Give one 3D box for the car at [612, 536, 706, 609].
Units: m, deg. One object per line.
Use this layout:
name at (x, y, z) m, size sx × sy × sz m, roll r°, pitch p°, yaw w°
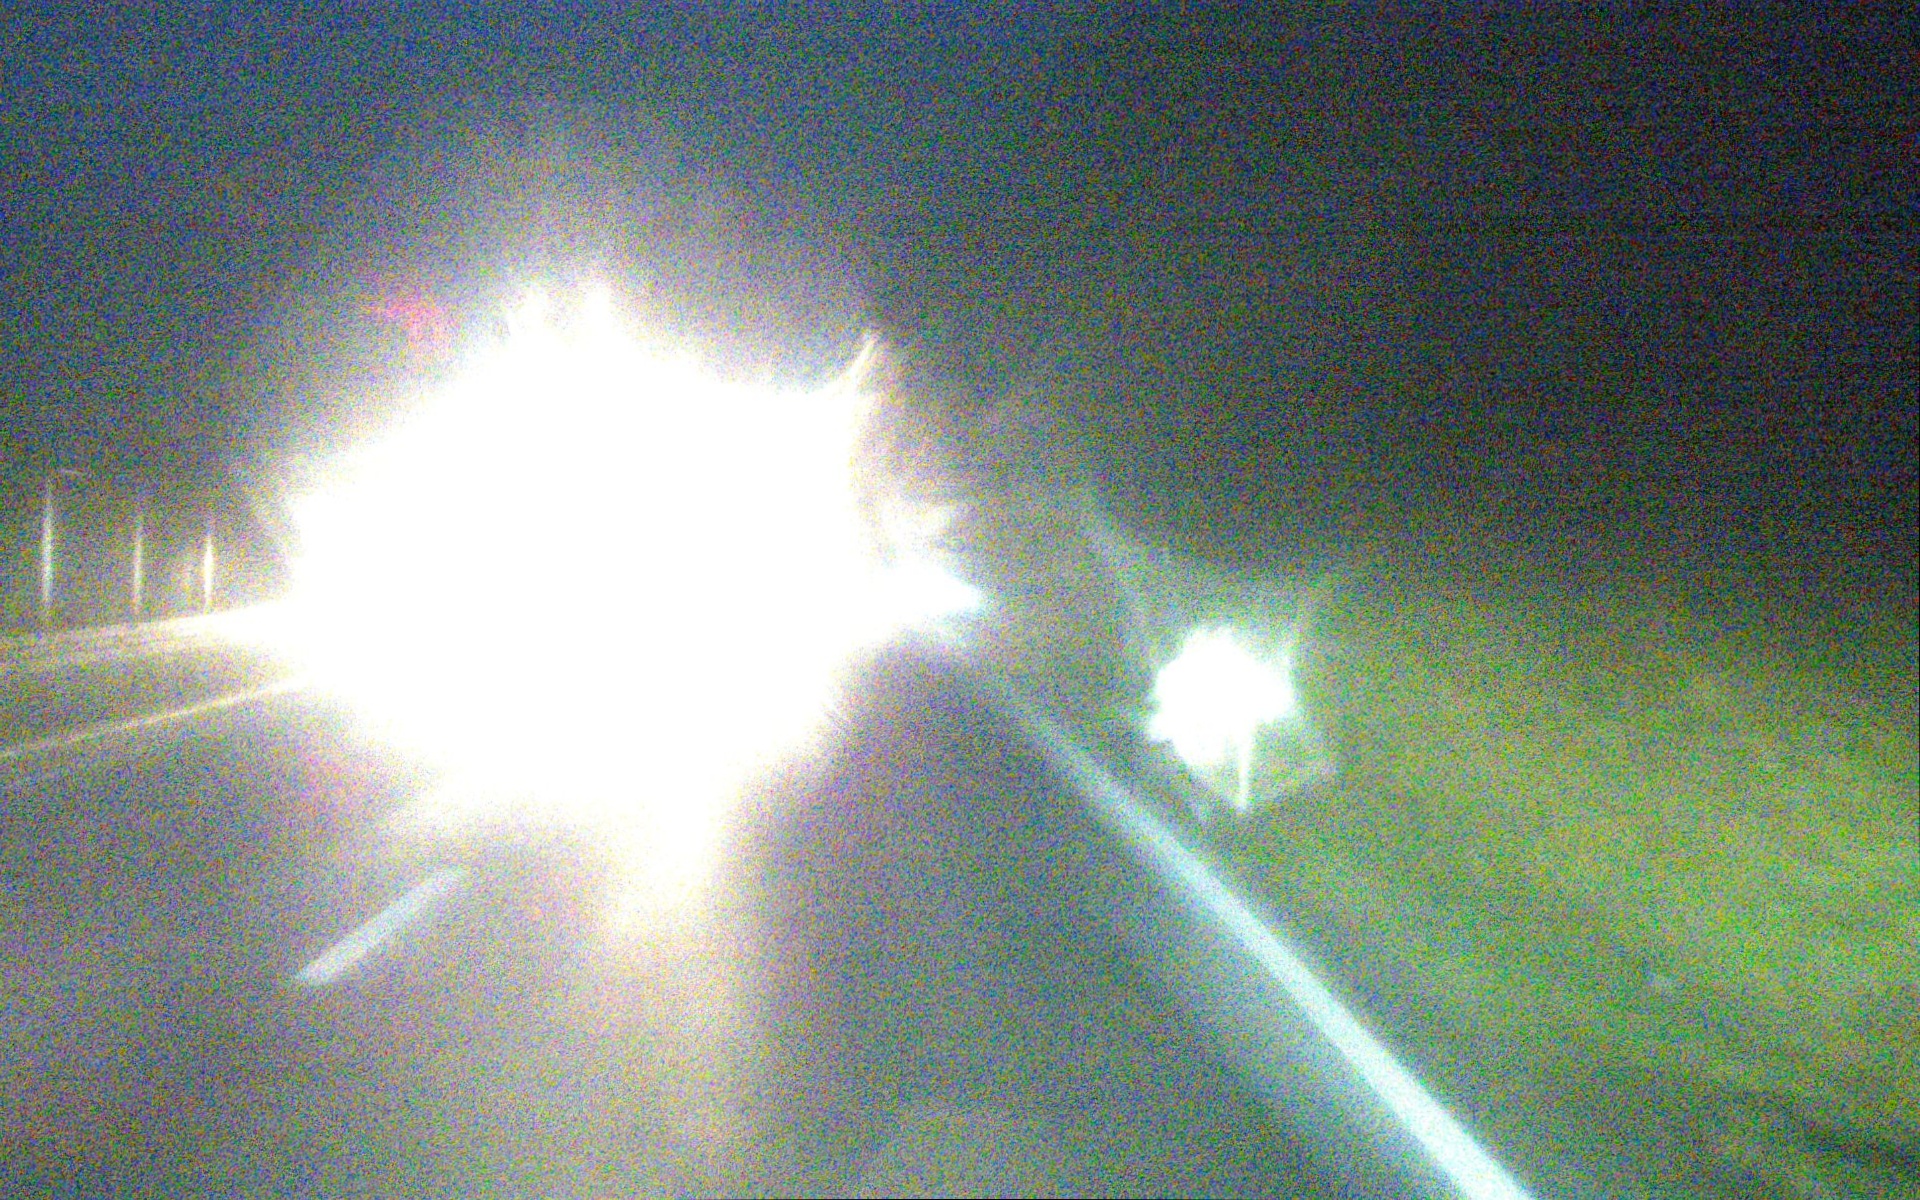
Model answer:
car at (-6.842, -0.644, 78.445) m, size 1.926 × 1.569 × 4.348 m, roll 1°, pitch 1°, yaw -2°
